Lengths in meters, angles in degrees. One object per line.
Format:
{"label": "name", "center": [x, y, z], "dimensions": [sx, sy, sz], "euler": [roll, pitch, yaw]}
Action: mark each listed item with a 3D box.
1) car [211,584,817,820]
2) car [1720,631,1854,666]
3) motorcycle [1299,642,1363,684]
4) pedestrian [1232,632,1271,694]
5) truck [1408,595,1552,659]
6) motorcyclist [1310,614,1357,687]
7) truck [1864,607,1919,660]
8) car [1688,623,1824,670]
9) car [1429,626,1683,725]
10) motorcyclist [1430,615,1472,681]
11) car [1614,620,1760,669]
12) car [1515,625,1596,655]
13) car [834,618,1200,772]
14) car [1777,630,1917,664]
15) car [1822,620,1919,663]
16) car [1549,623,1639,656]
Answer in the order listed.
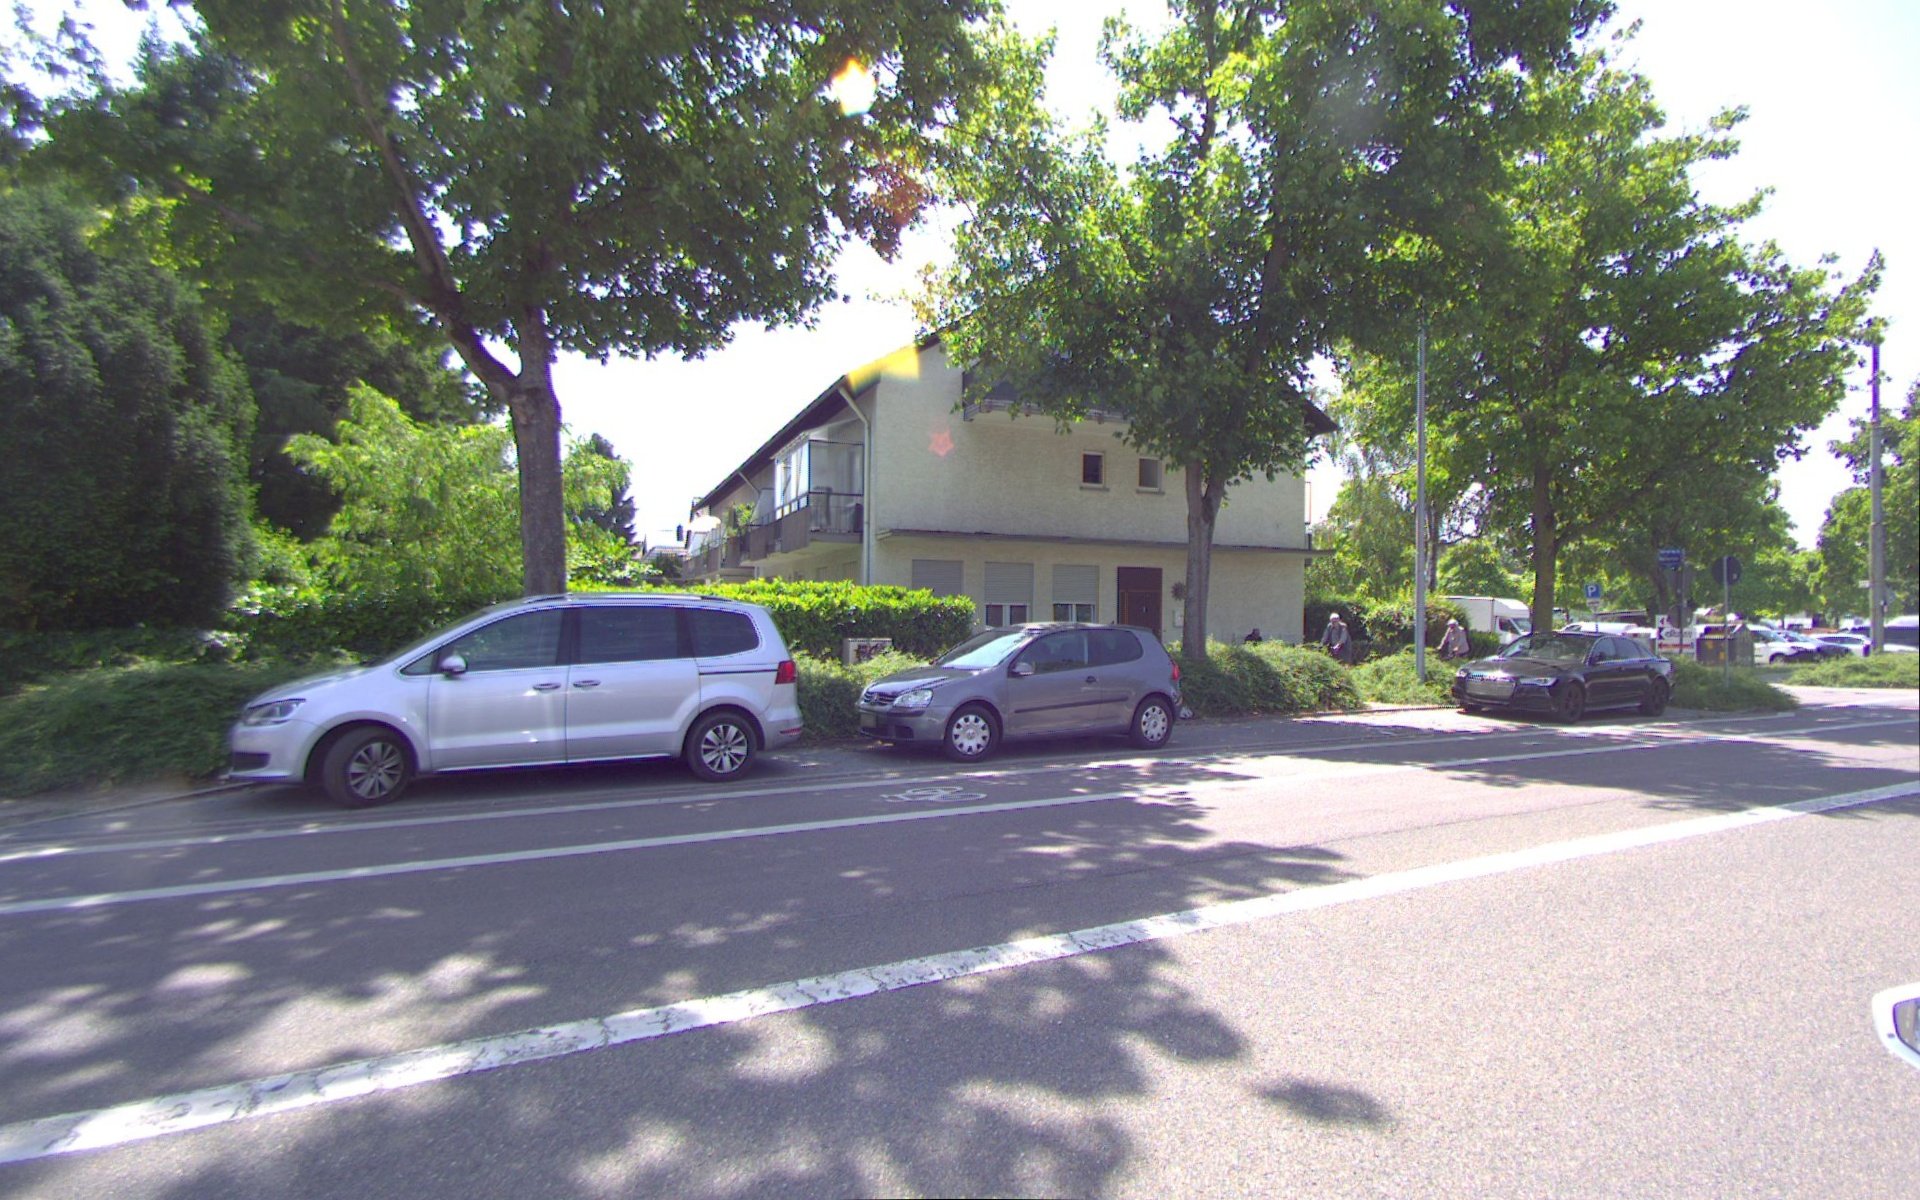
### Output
{"label": "car", "center": [-3.852, 0.777, 9.278], "dimensions": [4.630, 1.711, 1.962], "euler": [1, 0, -29]}
{"label": "car", "center": [36.393, 2.095, 44.277], "dimensions": [2.059, 1.422, 4.171], "euler": [1, -1, -33]}
{"label": "motorcycle", "center": [8.088, 1.362, 21.903], "dimensions": [1.353, 0.837, 0.524], "euler": [1, 2, -28]}
{"label": "pedestrian", "center": [7.366, 1.573, 25.408], "dimensions": [0.599, 1.530, 0.792], "euler": [1, -1, -23]}
{"label": "truck", "center": [28.369, 1.403, 55.144], "dimensions": [2.126, 3.270, 6.942], "euler": [1, 0, -31]}
{"label": "motorcyclist", "center": [8.156, 1.091, 21.929], "dimensions": [0.716, 1.523, 0.584], "euler": [1, 2, -29]}
{"label": "truck", "center": [52.279, 1.807, 53.579], "dimensions": [2.402, 2.796, 5.556], "euler": [1, -1, -28]}
{"label": "car", "center": [33.814, 1.934, 42.785], "dimensions": [1.651, 1.860, 4.251], "euler": [1, -1, -27]}
{"label": "car", "center": [10.491, 1.230, 17.568], "dimensions": [4.757, 1.476, 1.883], "euler": [1, 0, -33]}
{"label": "motorcyclist", "center": [11.745, 1.144, 24.021], "dimensions": [0.654, 1.523, 0.584], "euler": [1, 2, -29]}
{"label": "car", "center": [29.499, 1.762, 40.887], "dimensions": [2.040, 1.881, 4.421], "euler": [1, -1, -34]}
{"label": "car", "center": [34.953, 2.311, 59.028], "dimensions": [1.712, 1.597, 3.729], "euler": [1, 0, -30]}
{"label": "car", "center": [0.726, 1.007, 11.867], "dimensions": [4.080, 1.506, 1.668], "euler": [1, 0, -31]}
{"label": "car", "center": [42.894, 2.254, 48.683], "dimensions": [2.034, 1.508, 4.738], "euler": [1, -1, -30]}
{"label": "car", "center": [45.531, 2.000, 49.597], "dimensions": [1.835, 2.021, 4.189], "euler": [1, -1, -30]}
{"label": "car", "center": [37.475, 2.316, 59.465], "dimensions": [1.948, 1.845, 4.108], "euler": [1, -1, -30]}
